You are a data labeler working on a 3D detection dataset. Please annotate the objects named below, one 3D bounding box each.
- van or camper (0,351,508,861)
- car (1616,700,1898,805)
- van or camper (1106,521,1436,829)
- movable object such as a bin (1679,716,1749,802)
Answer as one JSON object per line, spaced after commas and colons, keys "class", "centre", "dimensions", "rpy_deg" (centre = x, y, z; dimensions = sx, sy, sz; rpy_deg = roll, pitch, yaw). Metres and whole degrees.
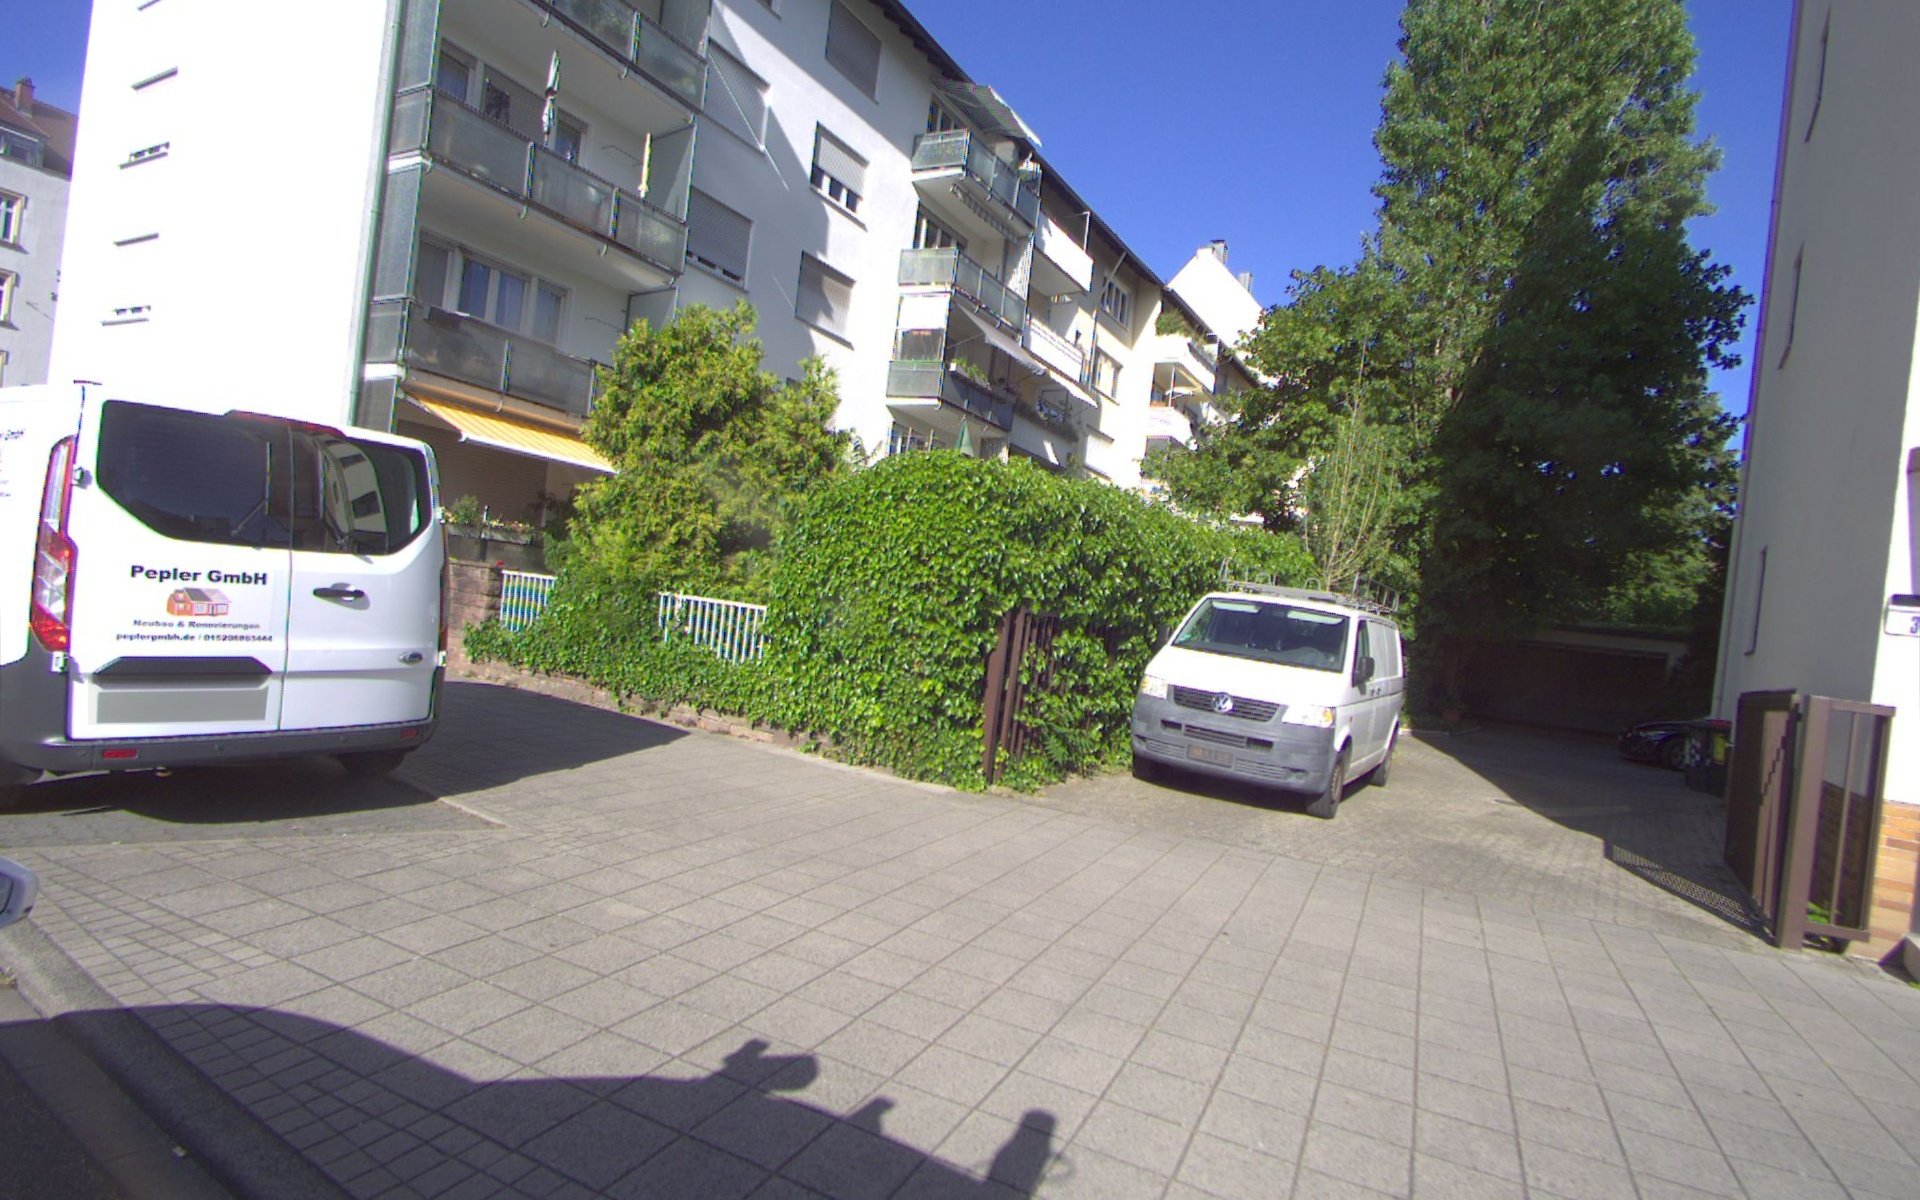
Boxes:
{"class": "van or camper", "centre": [-5.016, -0.129, 6.016], "dimensions": [4.628, 1.972, 2.020], "rpy_deg": [7, 1, 35]}
{"class": "car", "centre": [14.843, 2.787, 18.972], "dimensions": [3.941, 1.194, 1.508], "rpy_deg": [7, 0, 39]}
{"class": "van or camper", "centre": [3.498, 0.740, 10.481], "dimensions": [1.824, 2.316, 4.967], "rpy_deg": [8, 0, 32]}
{"class": "movable object such as a bin", "centre": [10.676, 2.237, 14.277], "dimensions": [0.599, 1.068, 0.918], "rpy_deg": [7, 0, 31]}
